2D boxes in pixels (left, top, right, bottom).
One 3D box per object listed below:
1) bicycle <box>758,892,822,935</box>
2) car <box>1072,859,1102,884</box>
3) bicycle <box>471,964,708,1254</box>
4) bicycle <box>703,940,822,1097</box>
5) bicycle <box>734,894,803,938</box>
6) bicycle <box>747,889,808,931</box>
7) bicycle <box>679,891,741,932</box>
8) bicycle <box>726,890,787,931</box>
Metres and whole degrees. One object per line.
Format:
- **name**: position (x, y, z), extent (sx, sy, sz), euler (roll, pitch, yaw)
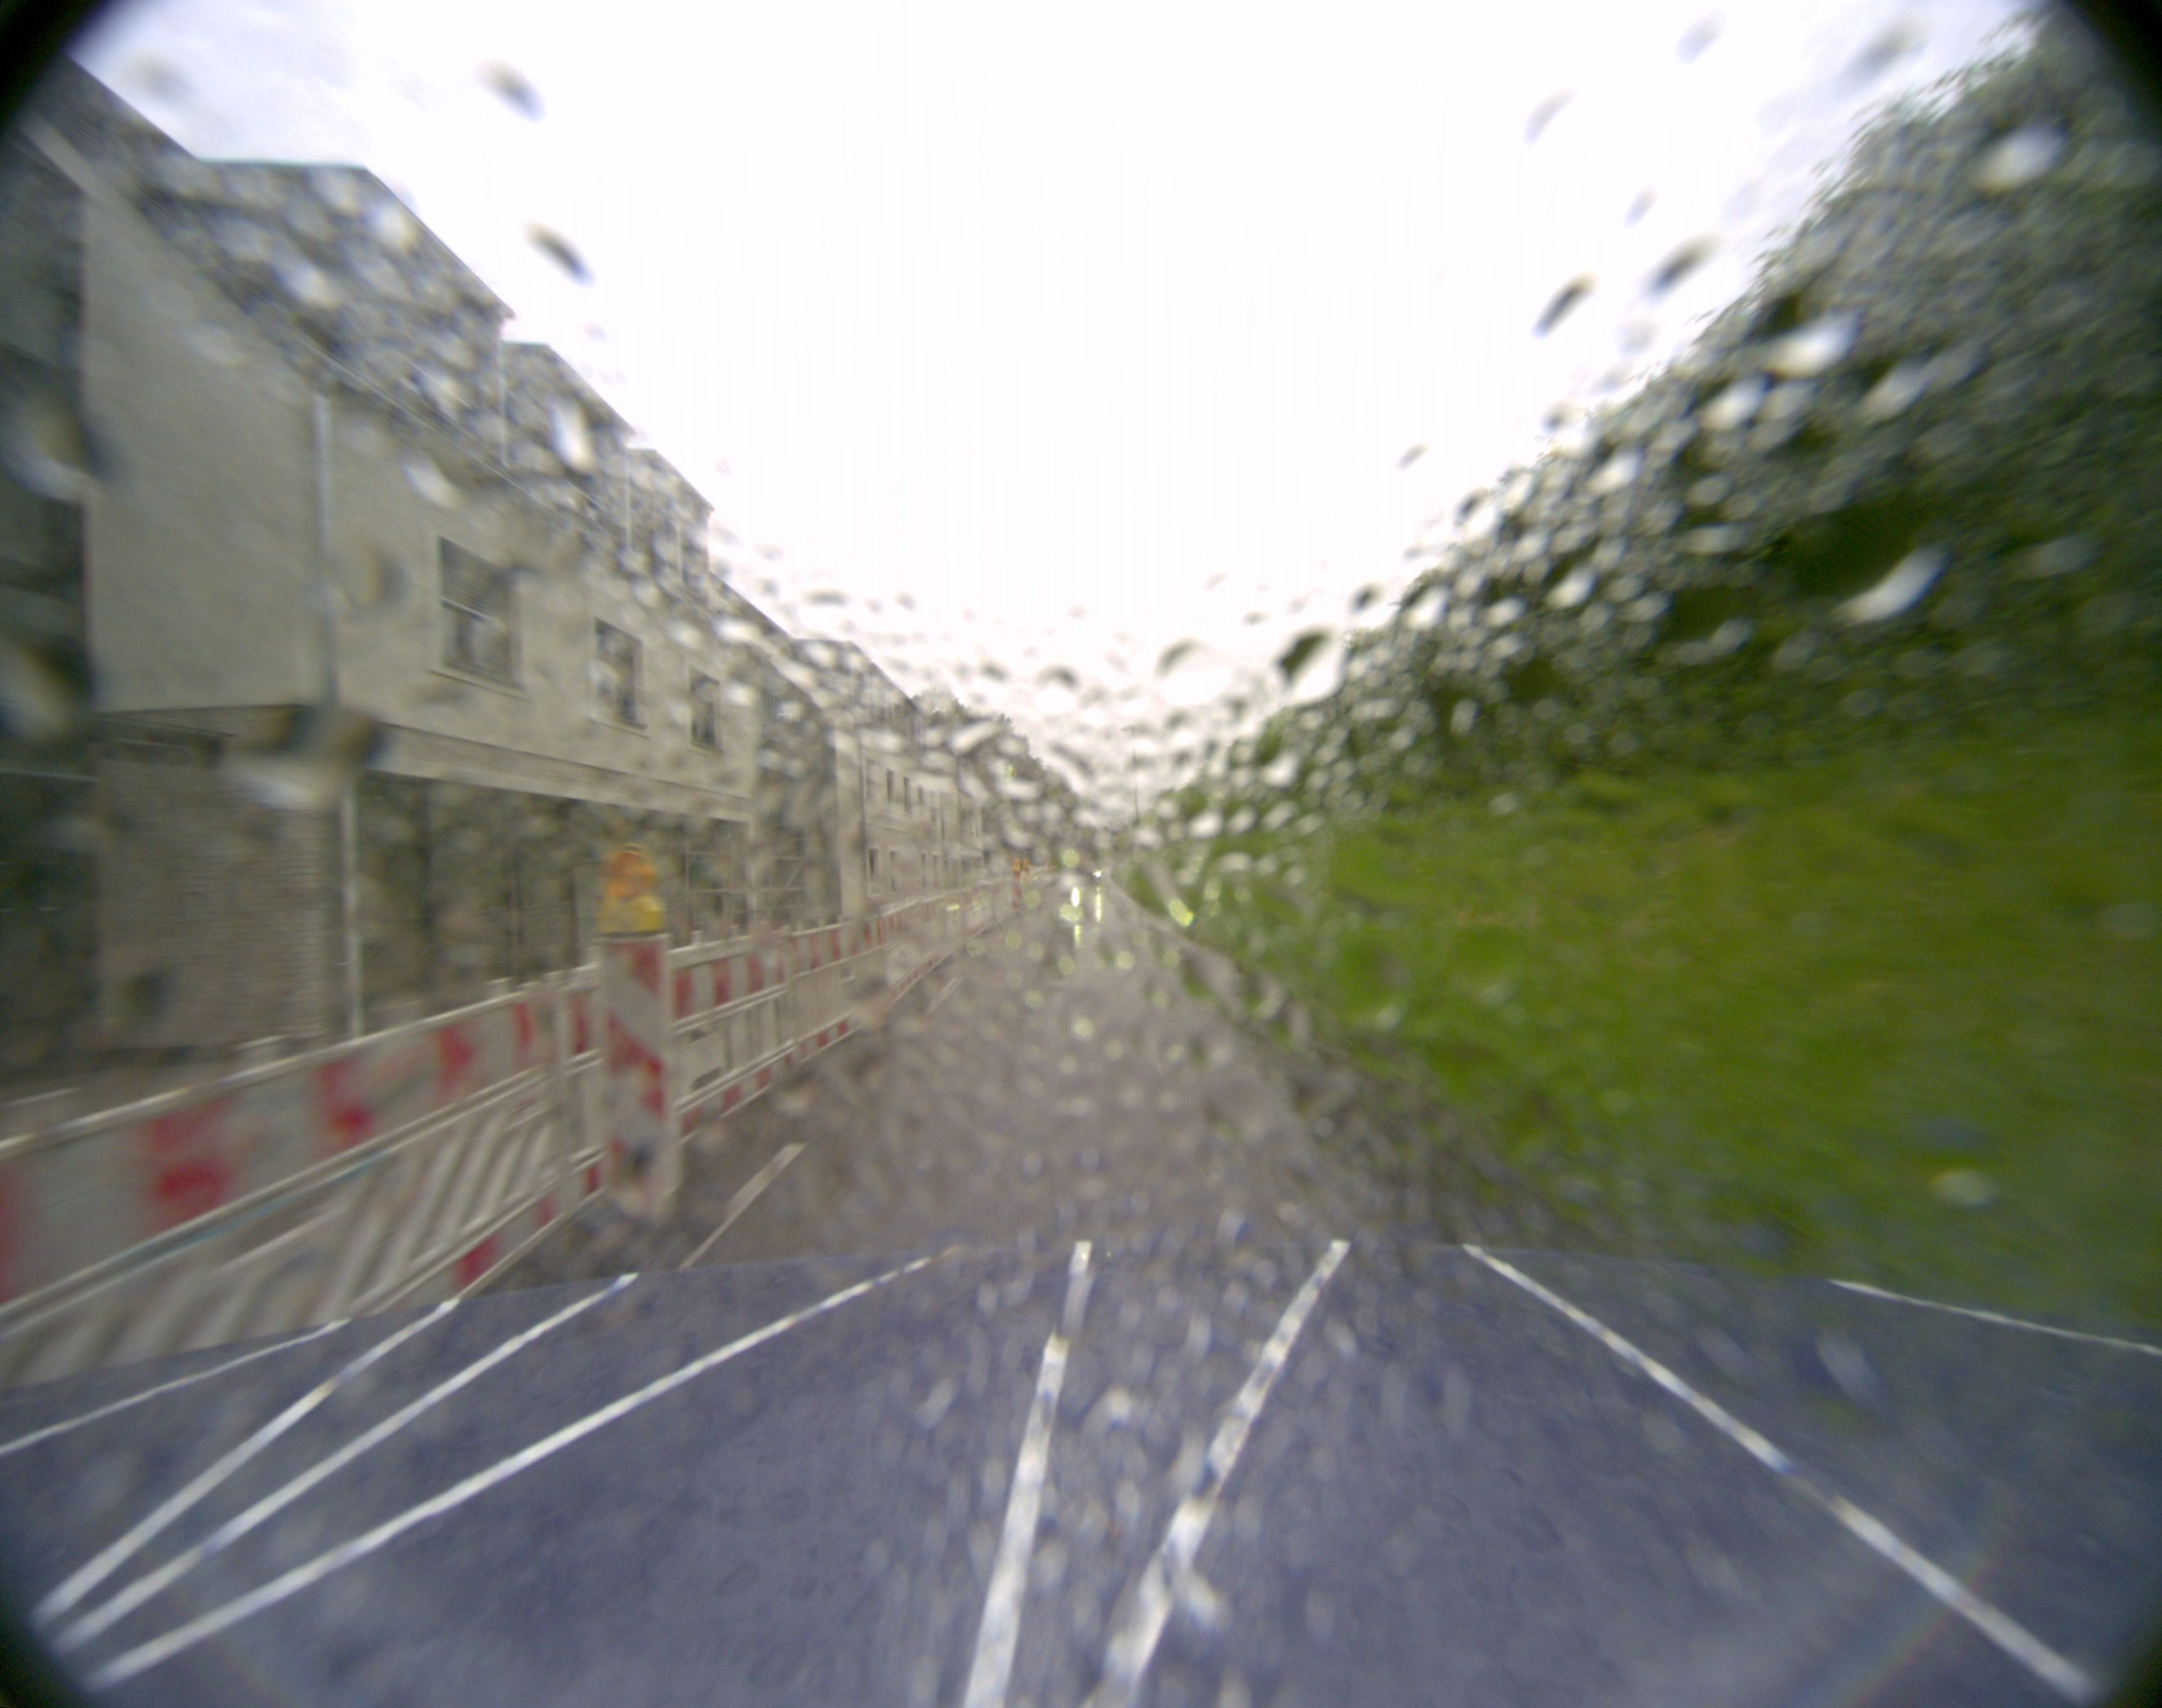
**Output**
- **bicycle**: position (-7.692, 1.559, 20.148), extent (1.535, 1.047, 0.449), euler (-1, 1, -18)
- **car**: position (0.380, 1.085, 48.741), extent (1.851, 1.444, 4.531), euler (-1, 0, 0)
- **bicycle**: position (-2.529, 1.250, 4.058), extent (0.407, 1.137, 1.221), euler (-1, 0, 2)
- **bicycle**: position (-2.588, 1.301, 6.294), extent (0.407, 1.023, 1.221), euler (-1, 0, 2)
- **bicycle**: position (-7.930, 1.563, 19.318), extent (1.533, 1.047, 0.450), euler (-1, 1, 1)
- **bicycle**: position (-8.694, 1.594, 21.811), extent (0.488, 1.071, 1.537), euler (-1, 1, 39)
- **bicycle**: position (-10.680, 1.636, 21.907), extent (0.488, 1.071, 1.537), euler (-1, 1, 39)
- **bicycle**: position (-9.320, 1.607, 21.865), extent (0.488, 1.071, 1.537), euler (-1, 1, 39)
